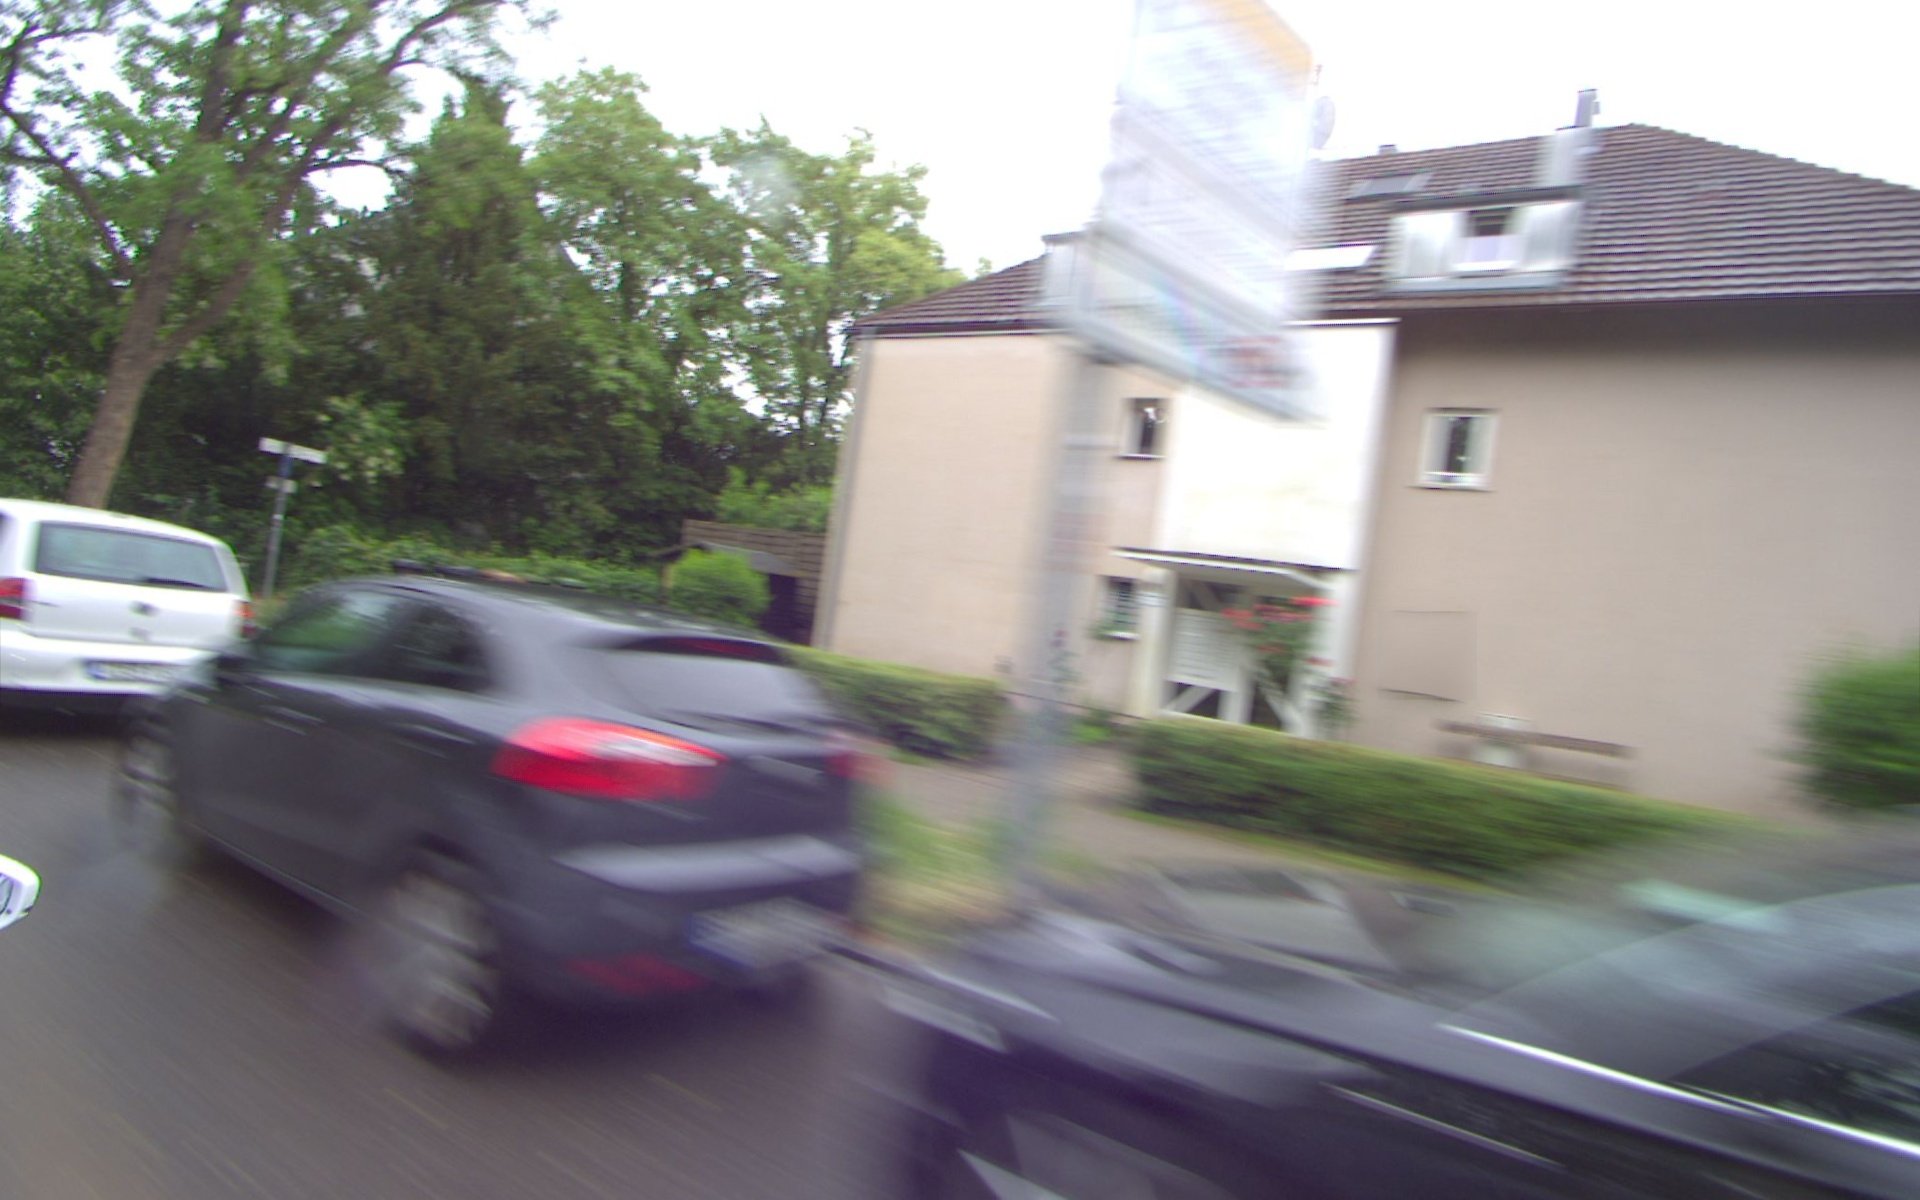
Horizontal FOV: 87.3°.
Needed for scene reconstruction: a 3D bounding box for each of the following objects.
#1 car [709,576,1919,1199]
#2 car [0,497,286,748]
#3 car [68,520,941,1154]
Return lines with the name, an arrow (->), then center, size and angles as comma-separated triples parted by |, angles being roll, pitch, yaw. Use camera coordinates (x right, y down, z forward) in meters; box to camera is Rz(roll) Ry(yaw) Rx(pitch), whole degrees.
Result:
car -> 1.951, 1.055, 1.833 | 4.743, 1.543, 1.757 | 7, -3, 32
car -> -6.921, 0.032, 7.556 | 3.703, 1.488, 1.575 | 7, -3, 32
car -> -2.200, 0.631, 4.442 | 3.882, 1.487, 1.620 | 7, -3, 35
